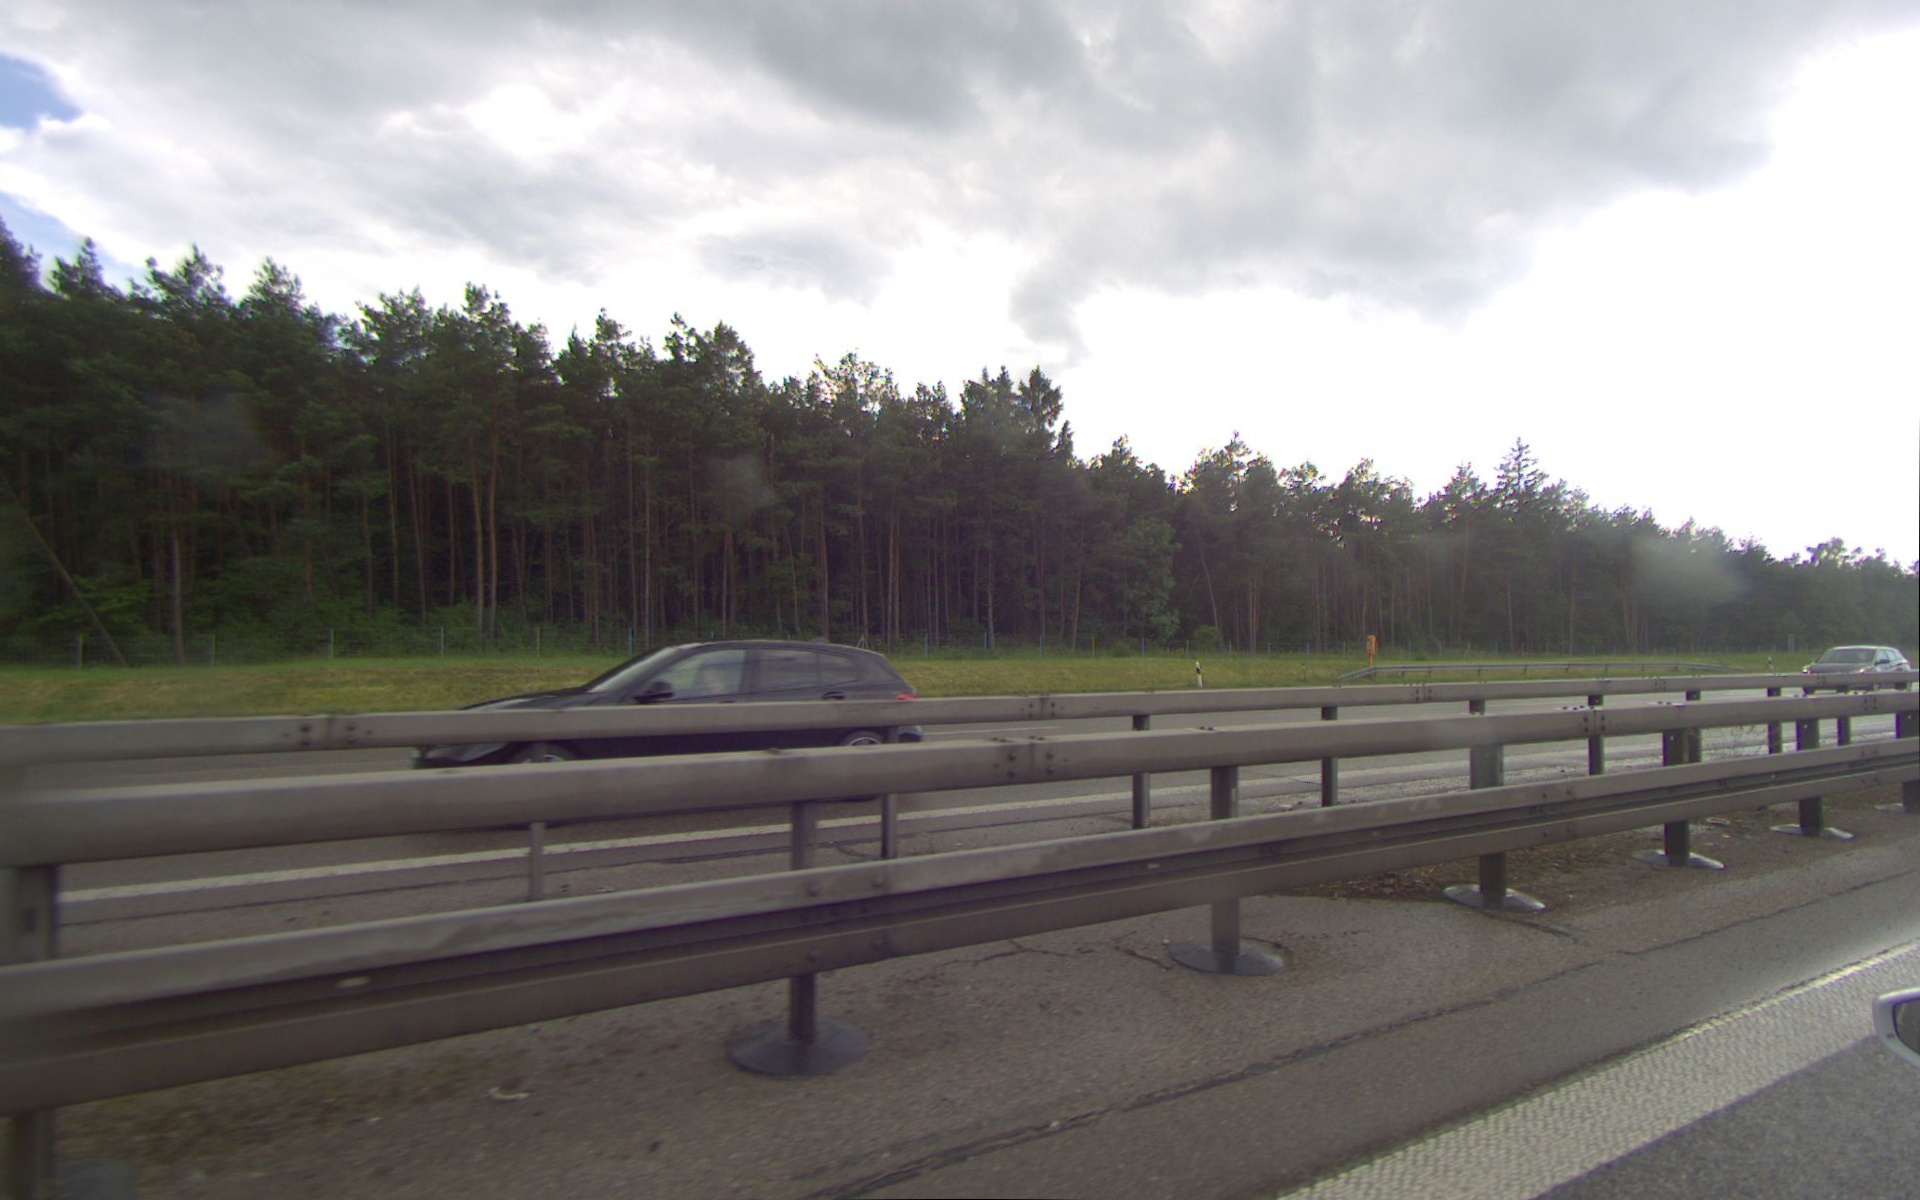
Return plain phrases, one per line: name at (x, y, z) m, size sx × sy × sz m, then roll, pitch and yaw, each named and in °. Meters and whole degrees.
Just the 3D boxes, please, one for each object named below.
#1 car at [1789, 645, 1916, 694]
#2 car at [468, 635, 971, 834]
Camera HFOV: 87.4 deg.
car at (28.237, 2.177, 31.754) m, size 4.187 × 1.440 × 1.803 m, roll 2°, pitch -4°, yaw -31°
car at (-2.054, 1.042, 8.947) m, size 4.046 × 1.407 × 1.719 m, roll 2°, pitch -3°, yaw -32°
